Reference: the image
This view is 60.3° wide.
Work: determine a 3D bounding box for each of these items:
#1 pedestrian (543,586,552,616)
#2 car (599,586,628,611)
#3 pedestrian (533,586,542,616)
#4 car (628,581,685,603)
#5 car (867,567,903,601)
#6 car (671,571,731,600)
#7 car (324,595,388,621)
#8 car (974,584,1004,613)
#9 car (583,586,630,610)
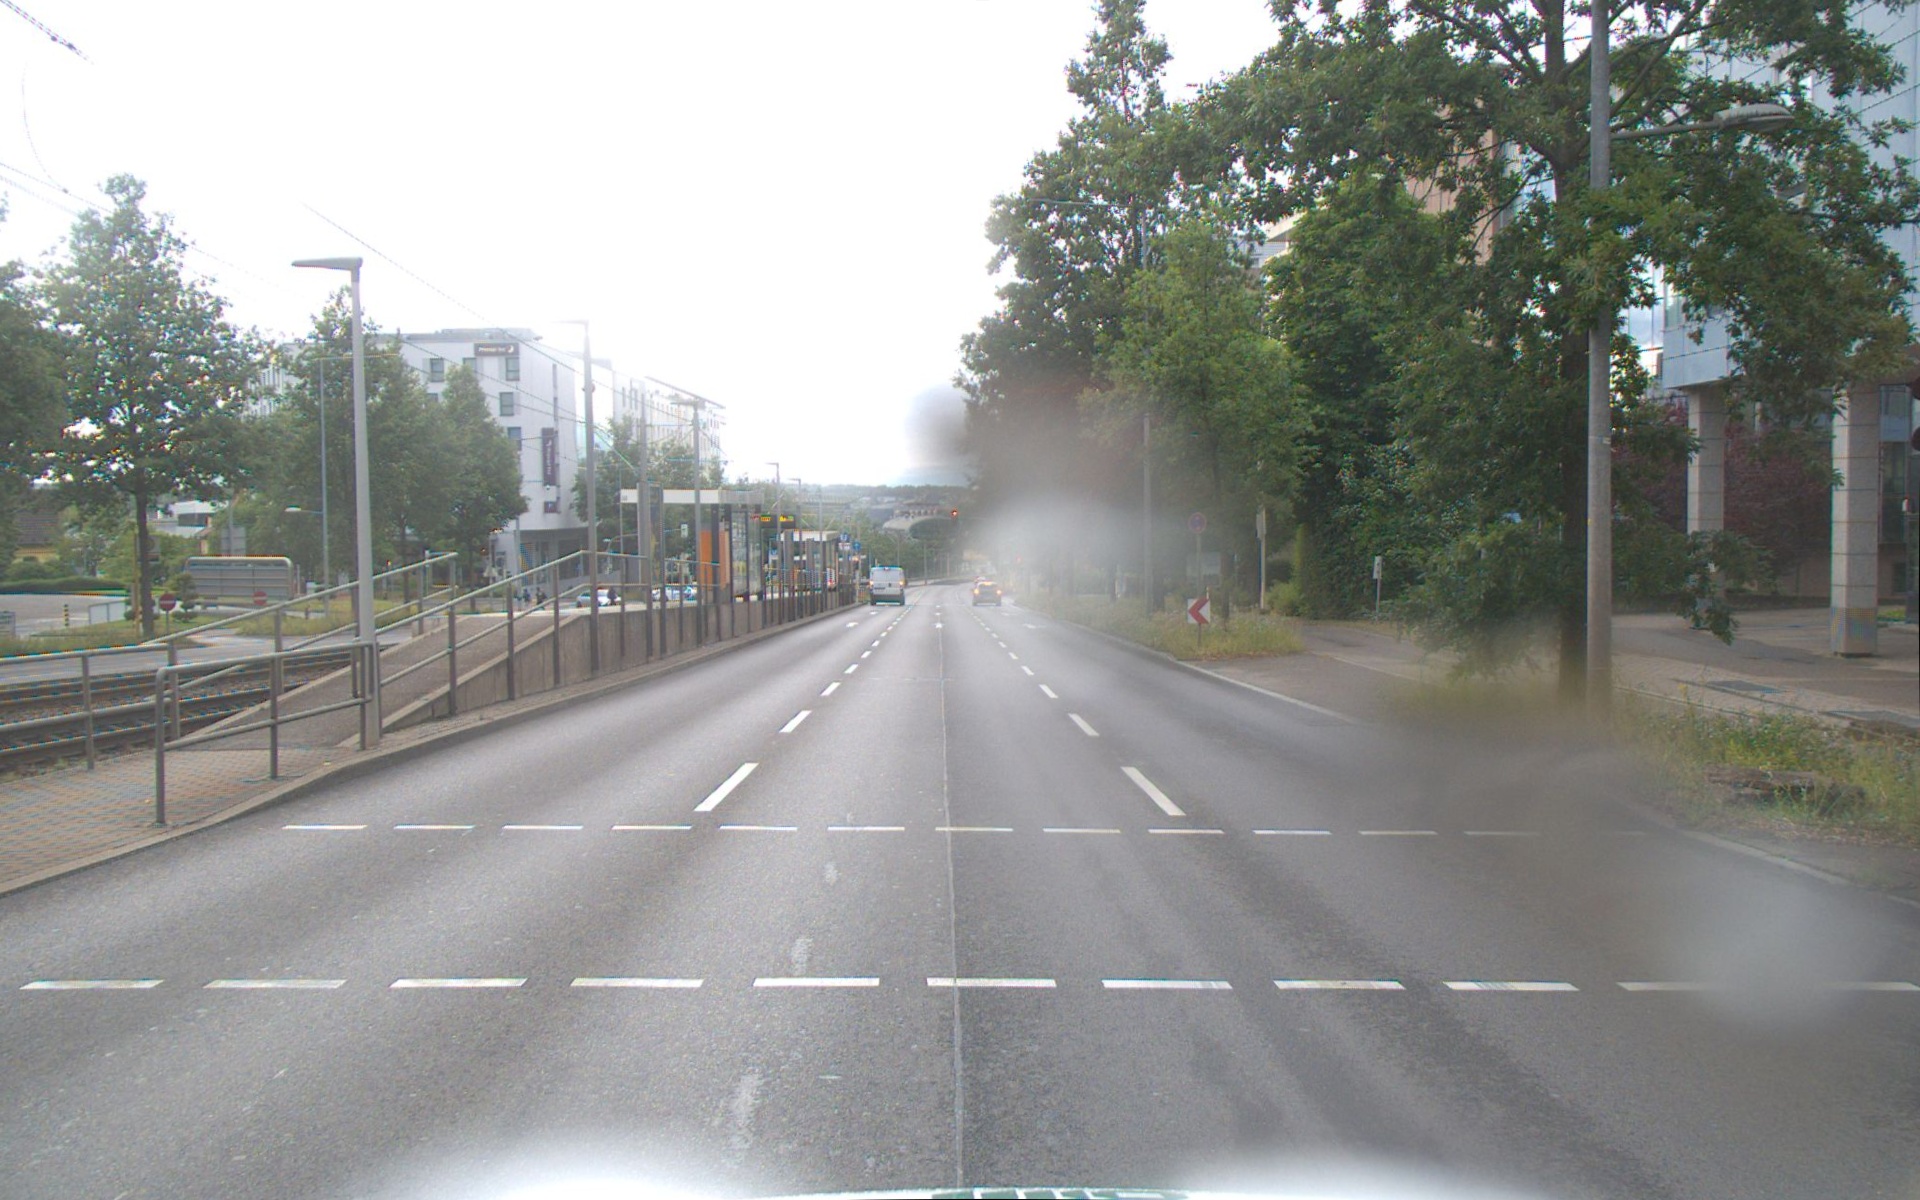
[{"bbox_3d":[-26.422,0.065,105.904,0.465,1.954,0.490,0,0,-1],"label":"pedestrian"},{"bbox_3d":[-21.743,-0.072,103.576,1.622,1.461,3.866,-2,1,-14],"label":"car"},{"bbox_3d":[-26.937,0.062,105.485,0.465,1.954,0.490,0,0,-1],"label":"pedestrian"},{"bbox_3d":[-22.686,-0.592,123.508,4.022,1.461,1.649,-3,1,-16],"label":"car"},{"bbox_3d":[-4.583,-0.983,101.367,2.050,2.089,4.605,0,1,-1],"label":"car"},{"bbox_3d":[-18.667,-1.053,119.293,3.948,2.049,1.741,-1,1,-32],"label":"car"},{"bbox_3d":[-34.889,0.461,95.525,3.297,1.411,1.434,0,1,16],"label":"car"},{"bbox_3d":[1.804,-0.101,102.797,1.738,1.720,3.845,0,1,-1],"label":"car"},{"bbox_3d":[-23.873,-0.143,111.568,1.638,1.461,3.830,-3,1,-36],"label":"car"}]
